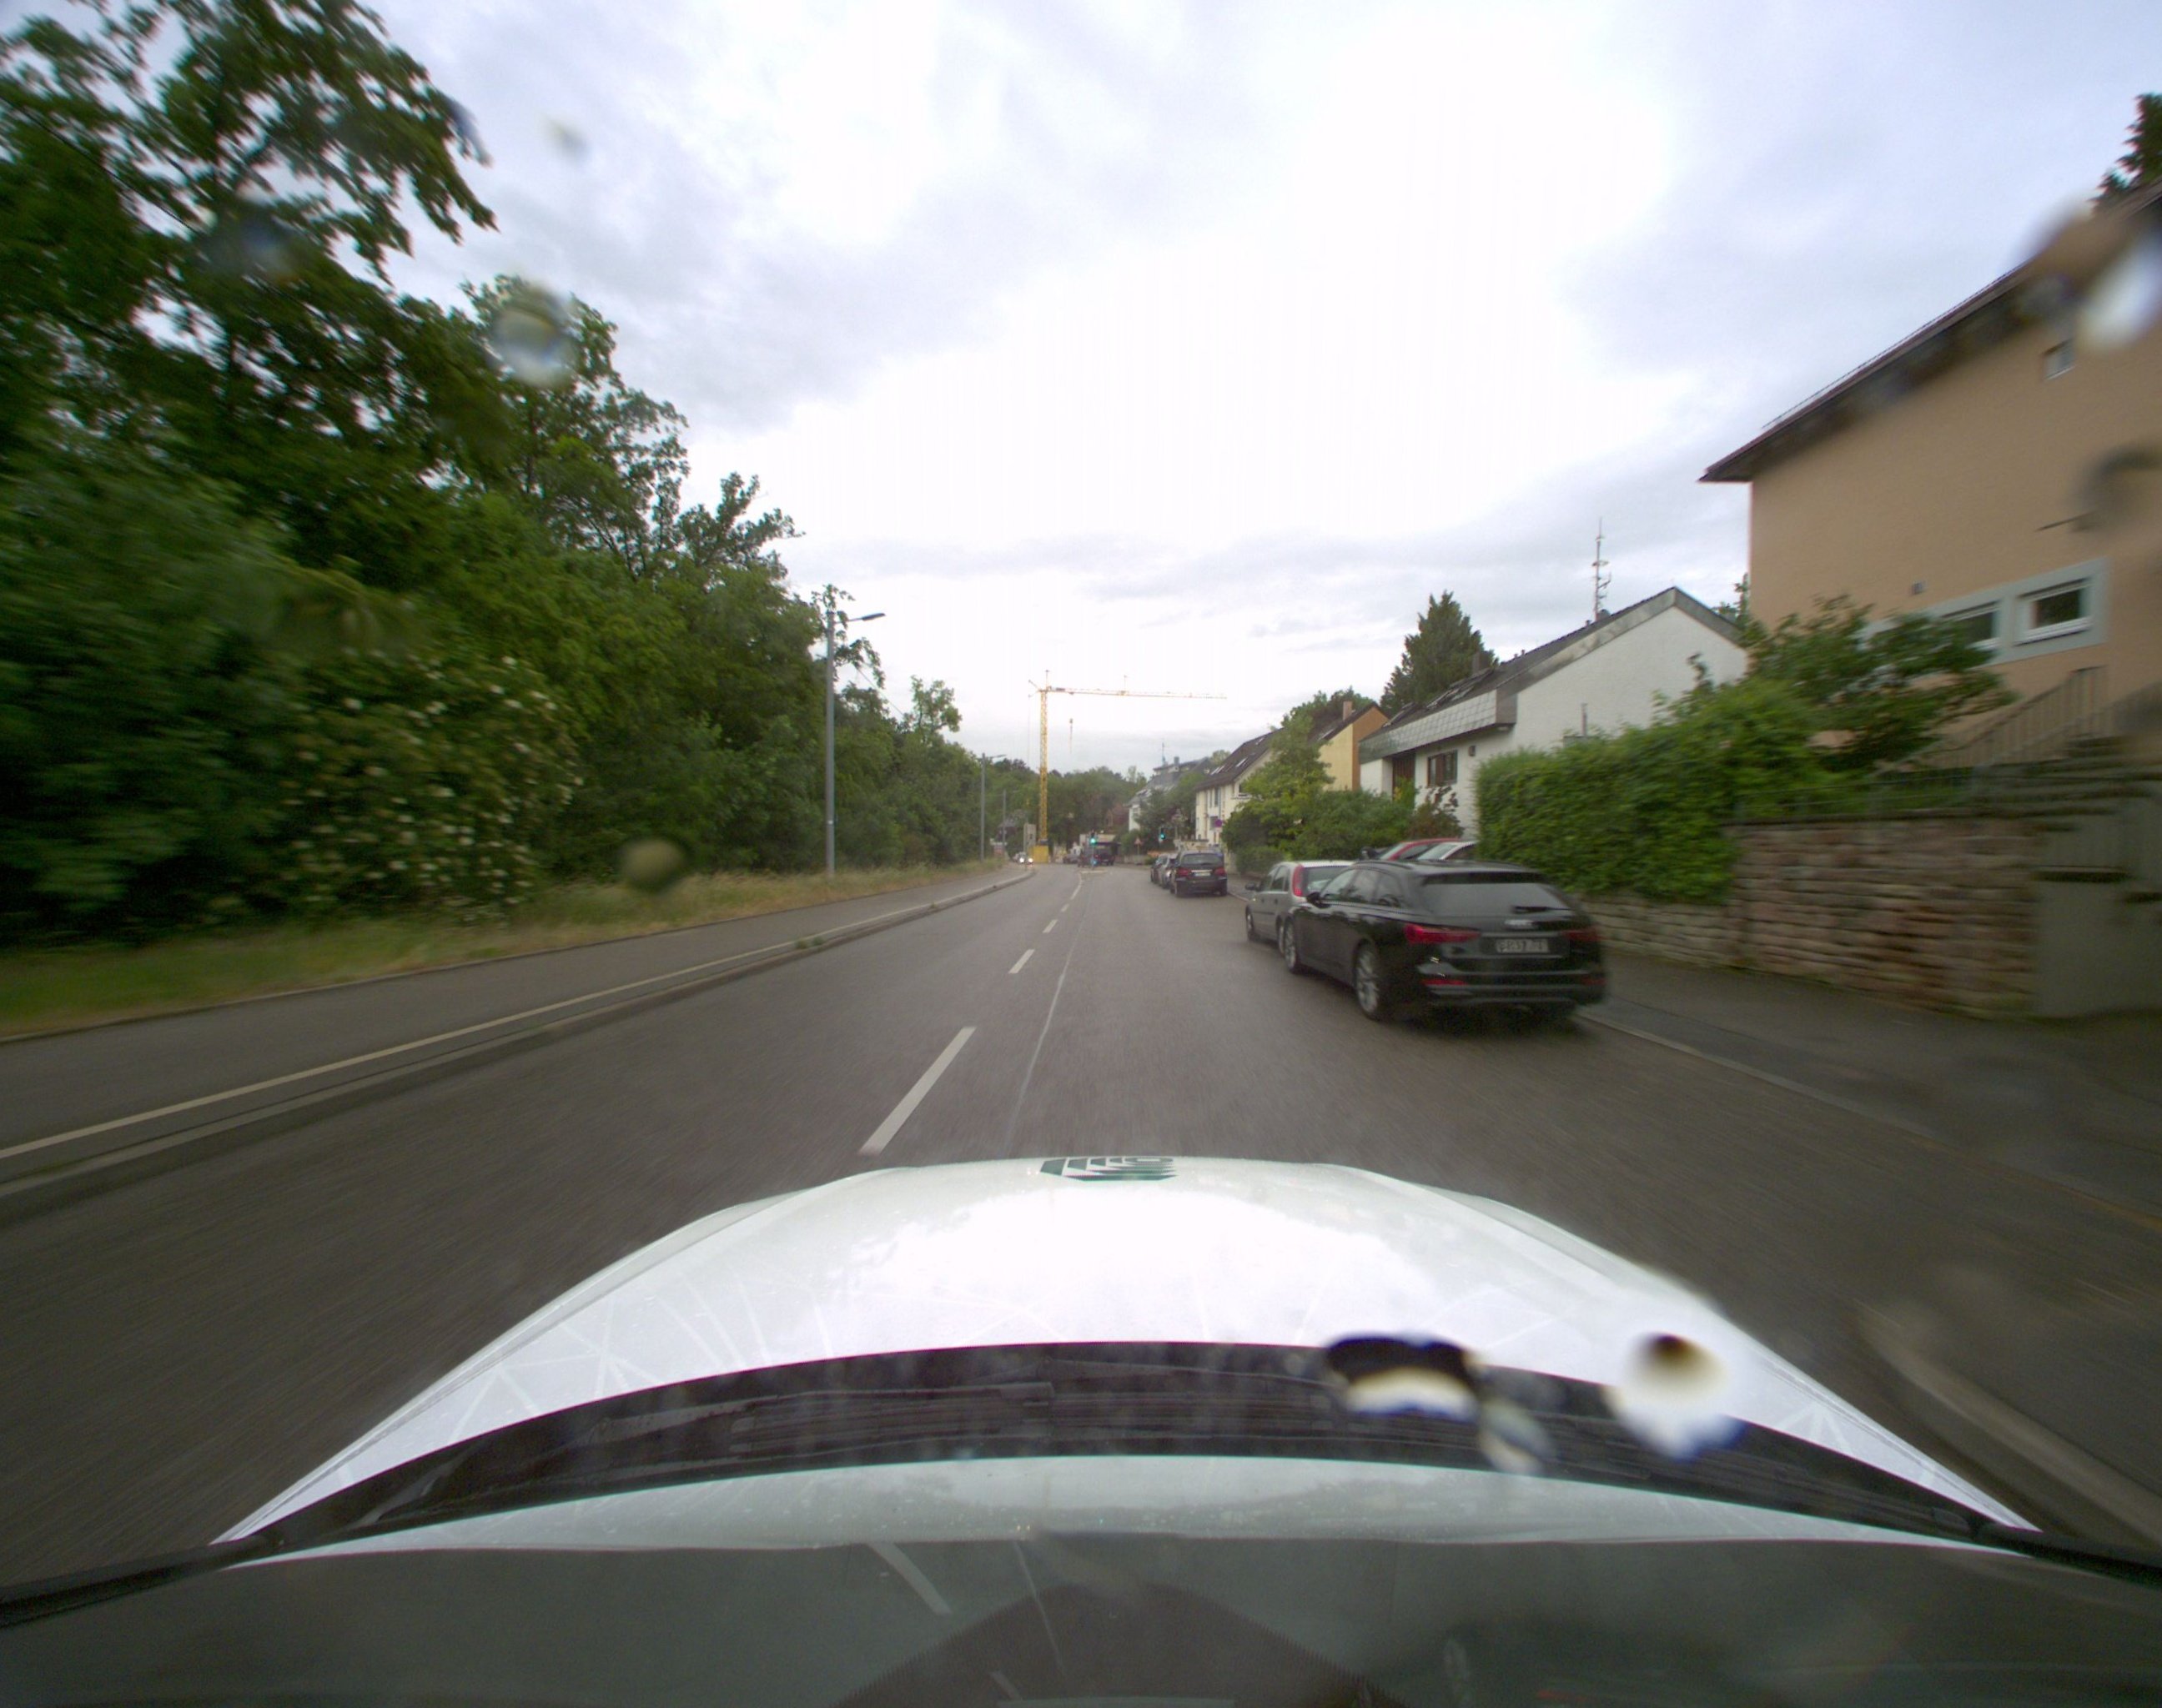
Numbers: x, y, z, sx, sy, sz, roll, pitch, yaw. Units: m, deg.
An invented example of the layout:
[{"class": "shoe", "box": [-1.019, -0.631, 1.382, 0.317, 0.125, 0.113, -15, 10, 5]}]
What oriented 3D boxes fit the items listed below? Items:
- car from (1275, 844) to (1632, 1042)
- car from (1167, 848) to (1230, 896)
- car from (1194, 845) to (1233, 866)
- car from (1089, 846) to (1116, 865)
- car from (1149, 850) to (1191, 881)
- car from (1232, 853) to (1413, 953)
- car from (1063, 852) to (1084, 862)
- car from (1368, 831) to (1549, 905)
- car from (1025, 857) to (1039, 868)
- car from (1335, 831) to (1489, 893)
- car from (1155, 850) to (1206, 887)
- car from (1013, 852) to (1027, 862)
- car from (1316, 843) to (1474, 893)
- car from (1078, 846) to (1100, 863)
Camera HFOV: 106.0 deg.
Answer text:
[{"class": "car", "box": [3.498, 0.741, 8.774, 1.823, 1.547, 4.631, -1, -1, 1]}, {"class": "car", "box": [4.163, 0.578, 29.433, 1.723, 1.568, 4.524, -1, 0, 2]}, {"class": "car", "box": [10.591, 0.150, 65.396, 1.930, 1.596, 4.330, 2, -1, -7]}, {"class": "car", "box": [2.411, 0.191, 90.845, 1.994, 2.013, 4.939, -3, 0, -10]}, {"class": "car", "box": [4.411, 0.587, 40.817, 1.745, 1.443, 4.602, -1, -1, 2]}, {"class": "car", "box": [3.791, 0.719, 13.538, 1.807, 1.398, 4.102, -1, -1, 0]}, {"class": "car", "box": [-1.103, 0.396, 114.175, 1.934, 1.422, 4.814, 1, 0, -14]}, {"class": "car", "box": [9.382, 0.329, 20.448, 3.647, 1.536, 1.827, -4, 0, -1]}, {"class": "car", "box": [-6.731, 1.102, 112.046, 1.739, 1.460, 4.411, -1, 0, -1]}, {"class": "car", "box": [9.433, 0.213, 23.447, 3.645, 1.566, 1.883, -2, 0, 1]}, {"class": "car", "box": [4.332, 0.631, 35.981, 1.786, 1.487, 4.496, -1, -1, 1]}, {"class": "car", "box": [-11.617, 0.568, 155.549, 1.748, 1.706, 4.478, -3, 0, -15]}, {"class": "car", "box": [9.745, 0.447, 25.509, 4.229, 1.460, 1.883, -1, -1, 1]}, {"class": "car", "box": [0.822, 0.065, 84.902, 1.928, 1.751, 3.994, 2, -1, -4]}]
